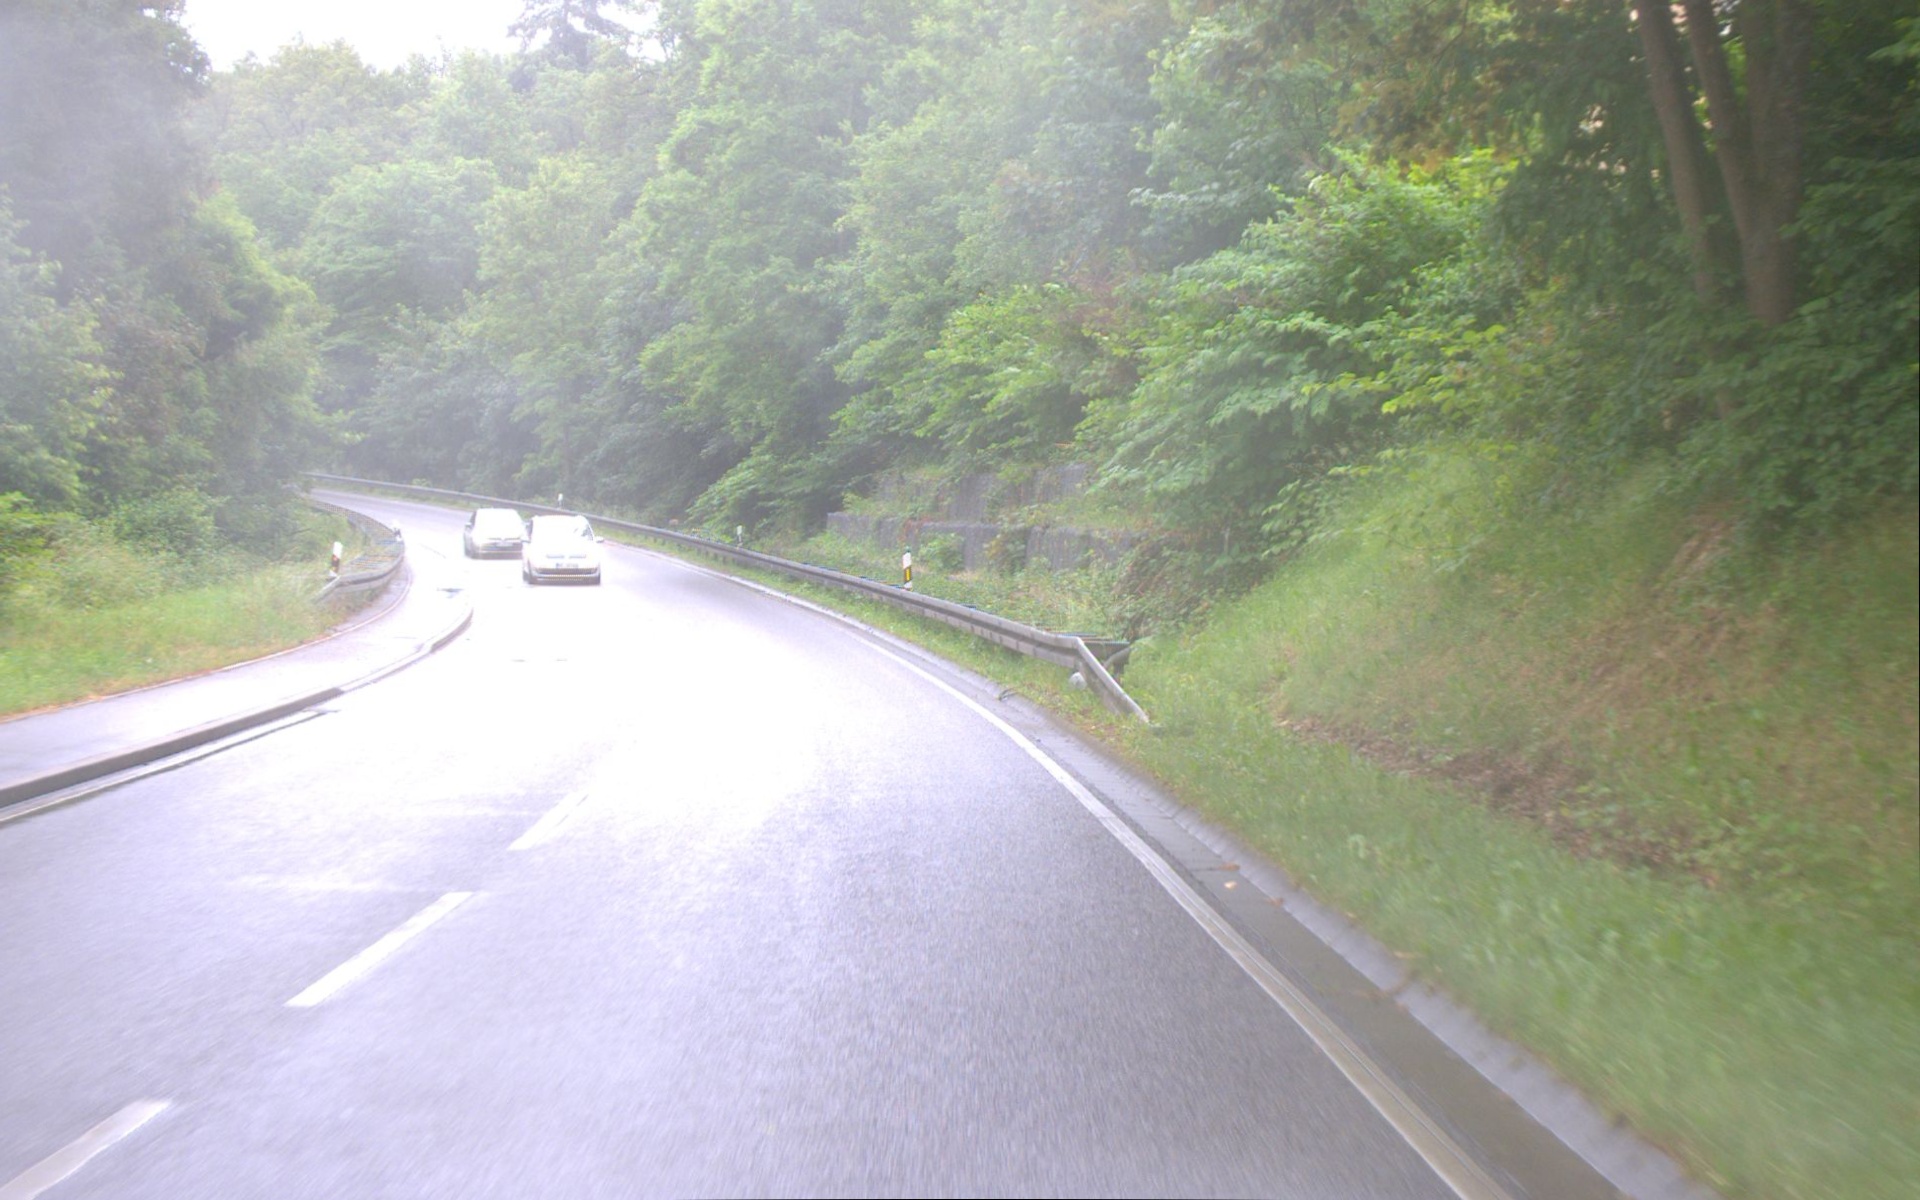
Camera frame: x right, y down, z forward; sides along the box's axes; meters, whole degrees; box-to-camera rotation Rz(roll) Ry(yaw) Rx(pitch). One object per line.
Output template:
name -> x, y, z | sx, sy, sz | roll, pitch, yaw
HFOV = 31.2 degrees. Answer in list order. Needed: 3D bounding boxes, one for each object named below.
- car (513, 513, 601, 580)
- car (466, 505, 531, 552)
car -> -10.049, -1.340, 85.605 | 1.814, 1.642, 4.132 | 0, 1, -12
car -> -14.098, -2.174, 104.863 | 1.814, 1.429, 4.001 | 0, 1, -10
